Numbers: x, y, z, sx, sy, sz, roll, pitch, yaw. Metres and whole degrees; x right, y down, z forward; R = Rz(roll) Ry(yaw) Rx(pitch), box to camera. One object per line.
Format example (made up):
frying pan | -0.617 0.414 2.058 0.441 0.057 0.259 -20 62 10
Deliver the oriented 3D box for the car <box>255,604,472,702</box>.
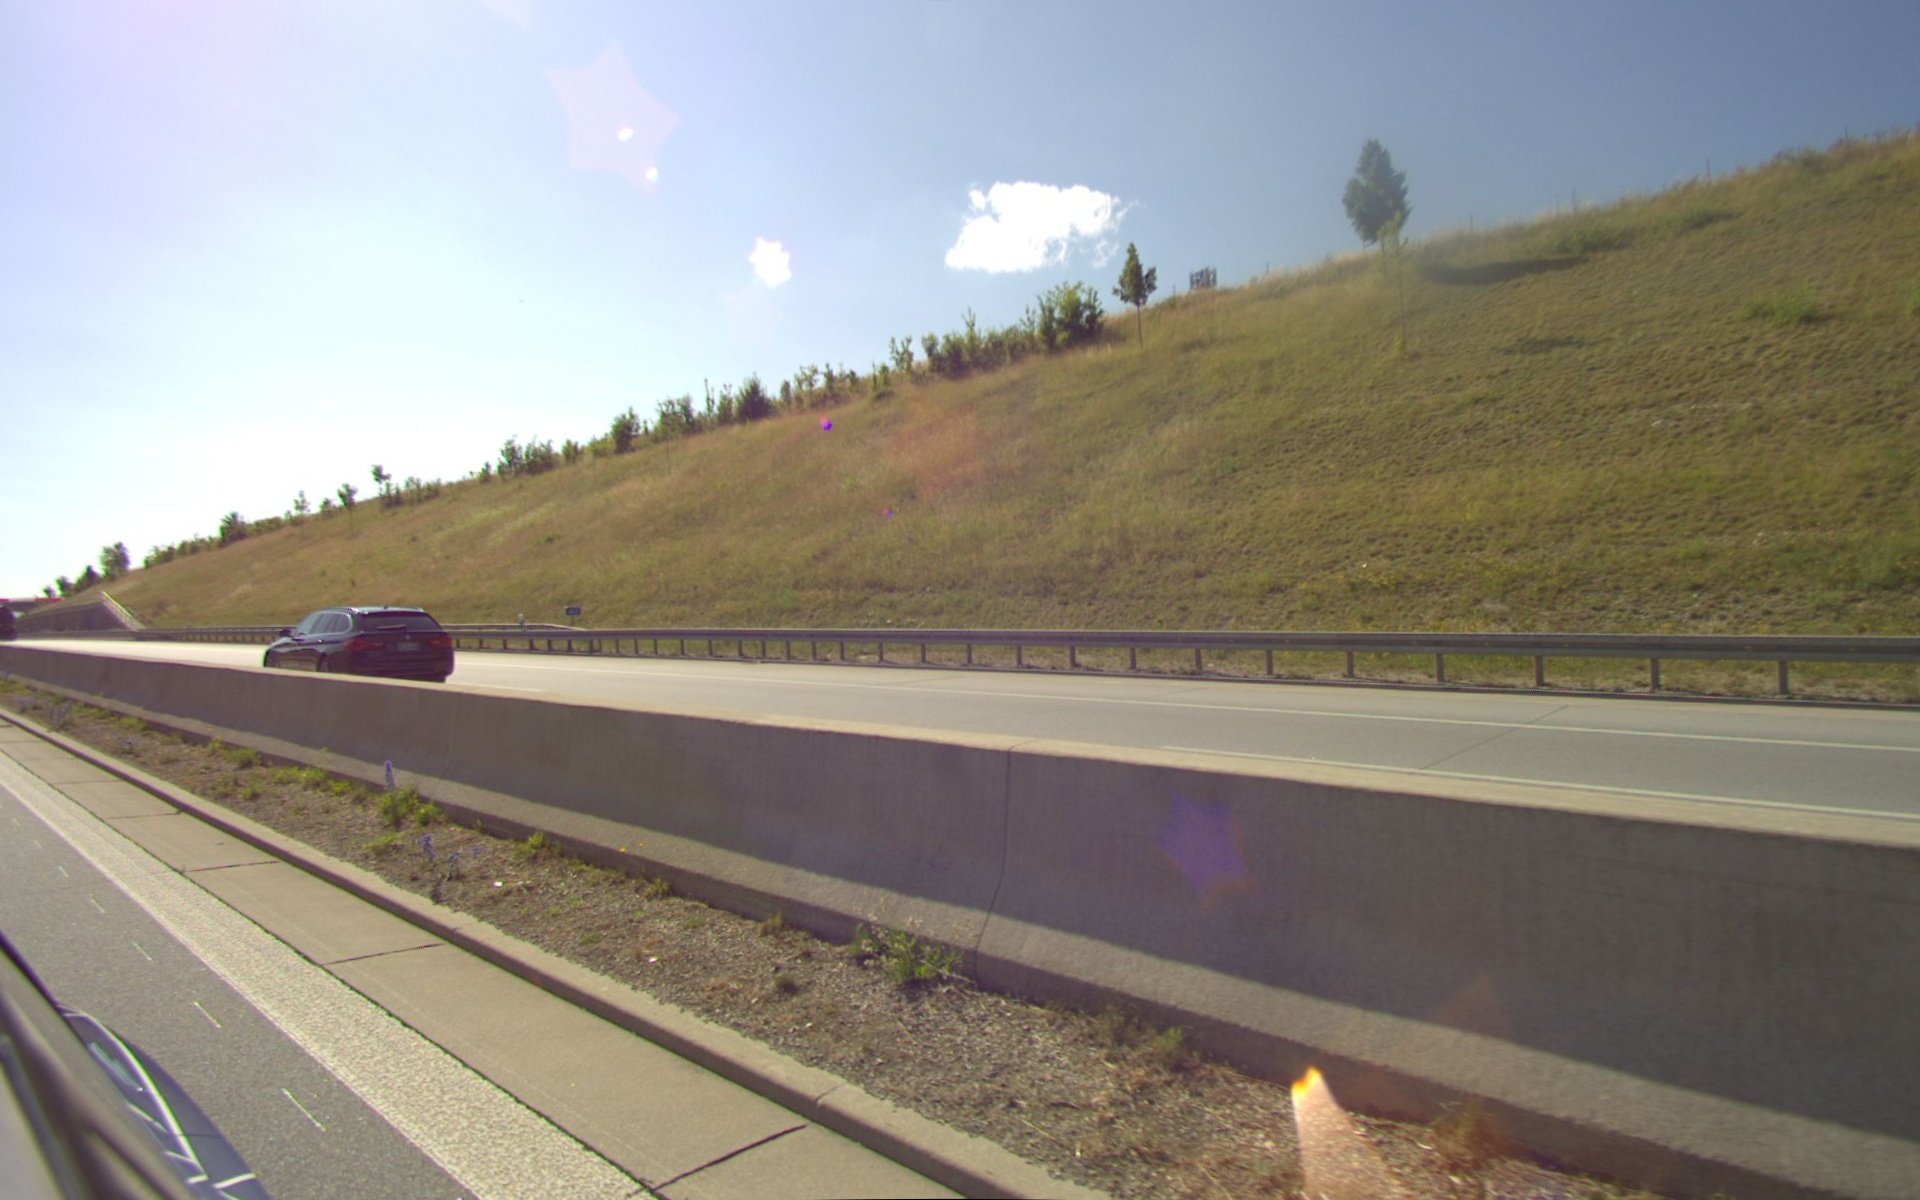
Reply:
car | -10.565 0.871 17.767 4.765 1.472 1.835 -2 0 41

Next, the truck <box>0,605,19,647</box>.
truck | -94.873 2.578 99.069 12.441 3.971 2.728 -1 0 41
